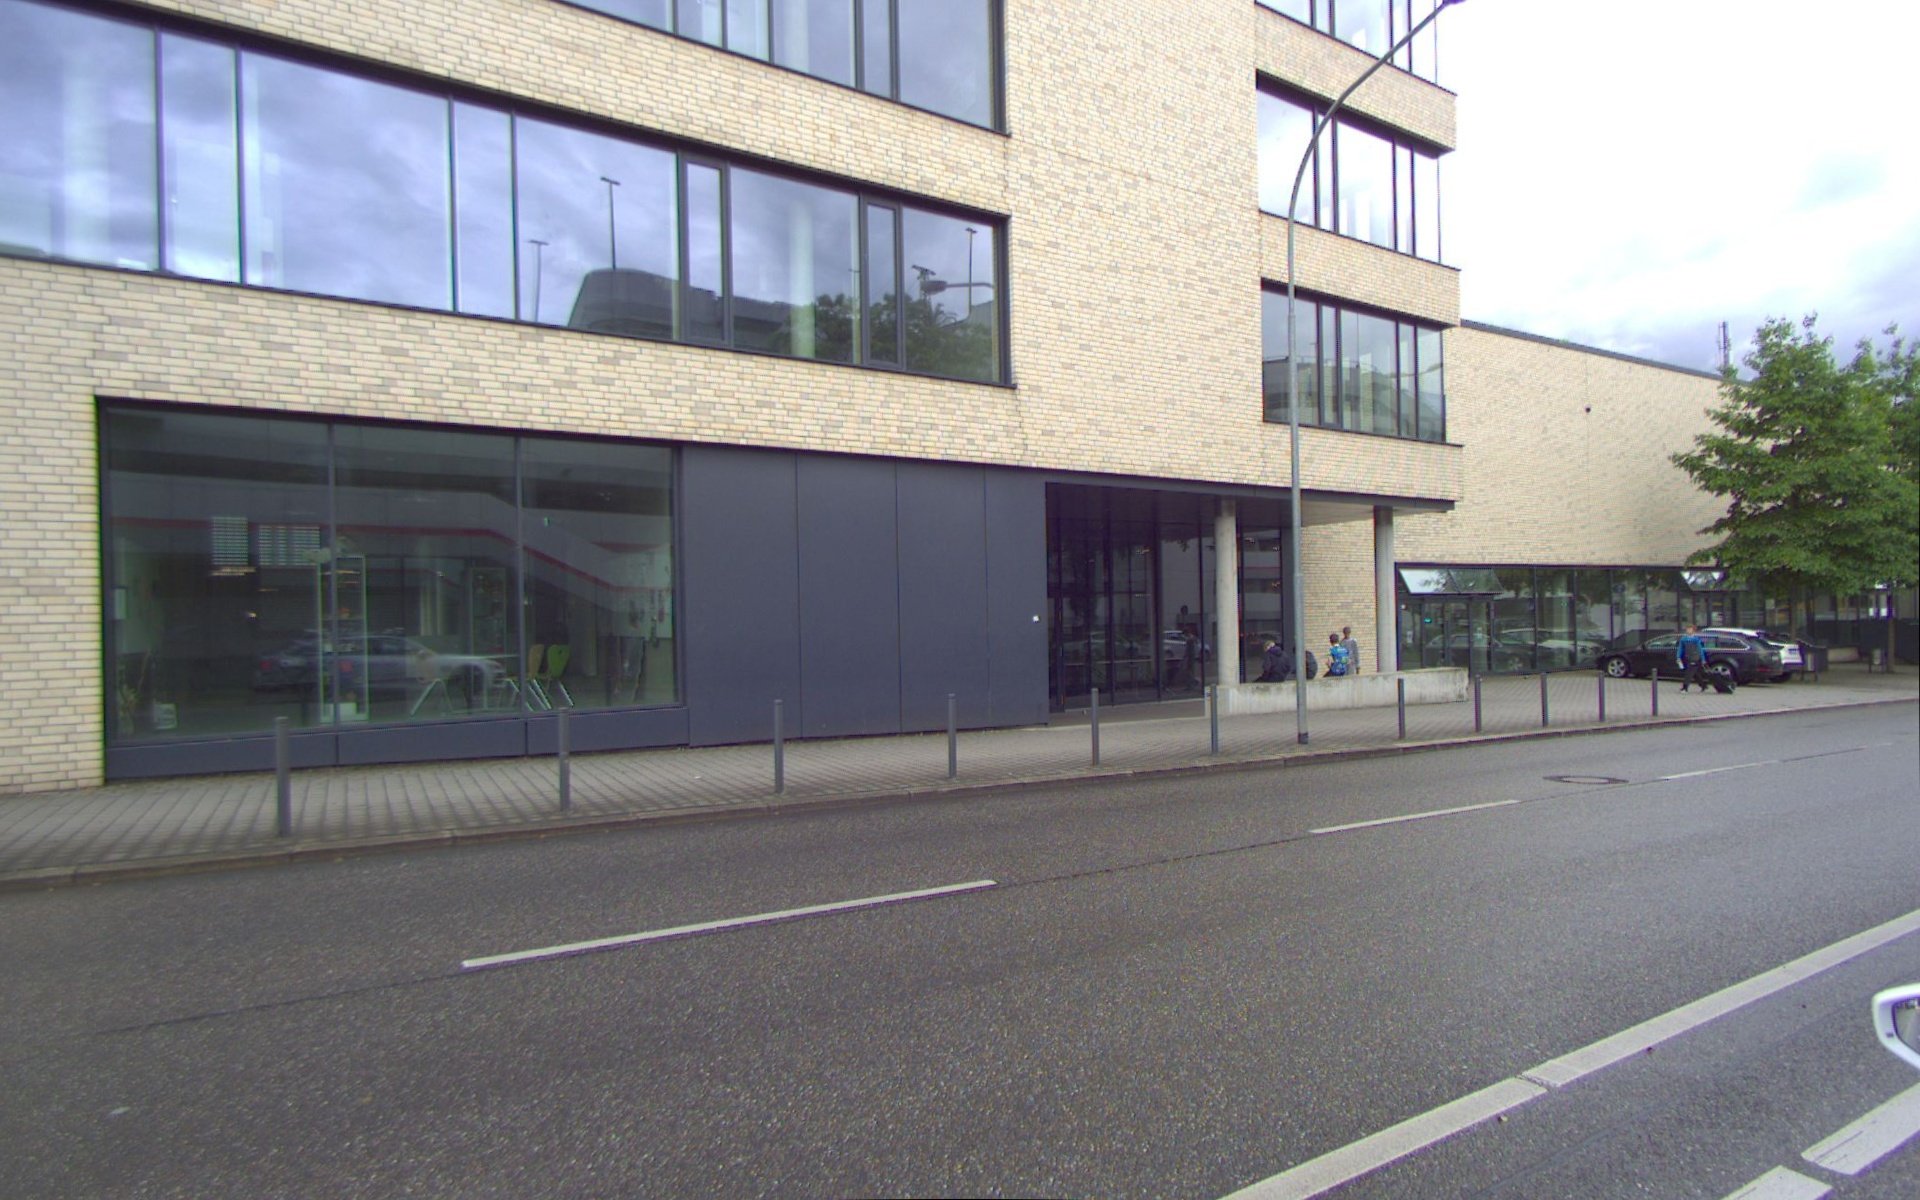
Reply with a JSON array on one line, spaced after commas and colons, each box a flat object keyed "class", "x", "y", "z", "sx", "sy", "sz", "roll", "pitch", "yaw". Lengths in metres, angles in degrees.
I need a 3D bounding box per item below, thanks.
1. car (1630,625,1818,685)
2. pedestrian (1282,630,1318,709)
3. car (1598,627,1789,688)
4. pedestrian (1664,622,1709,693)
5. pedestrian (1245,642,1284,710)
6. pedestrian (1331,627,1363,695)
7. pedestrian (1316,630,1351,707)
[{"class": "car", "x": 23.451, "y": 1.638, "z": 30.995, "sx": 1.975, "sy": 1.568, "sz": 4.159, "roll": 2, "pitch": 0, "yaw": -28}, {"class": "pedestrian", "x": 6.603, "y": 1.345, "z": 19.521, "sx": 0.459, "sy": 1.495, "sz": 0.446, "roll": 2, "pitch": 0, "yaw": -35}, {"class": "car", "x": 21.574, "y": 1.643, "z": 29.686, "sx": 1.981, "sy": 1.515, "sz": 4.147, "roll": 2, "pitch": 0, "yaw": -36}, {"class": "pedestrian", "x": 18.345, "y": 1.446, "z": 25.367, "sx": 0.696, "sy": 1.737, "sz": 0.632, "roll": 2, "pitch": 0, "yaw": -27}, {"class": "pedestrian", "x": 5.762, "y": 1.428, "z": 18.994, "sx": 0.416, "sy": 1.231, "sz": 0.546, "roll": 2, "pitch": 0, "yaw": -27}, {"class": "pedestrian", "x": 8.778, "y": 1.379, "z": 22.778, "sx": 0.523, "sy": 1.495, "sz": 0.438, "roll": 2, "pitch": 0, "yaw": -35}, {"class": "pedestrian", "x": 7.516, "y": 1.371, "z": 20.240, "sx": 0.459, "sy": 1.495, "sz": 0.446, "roll": 2, "pitch": 0, "yaw": -35}]
